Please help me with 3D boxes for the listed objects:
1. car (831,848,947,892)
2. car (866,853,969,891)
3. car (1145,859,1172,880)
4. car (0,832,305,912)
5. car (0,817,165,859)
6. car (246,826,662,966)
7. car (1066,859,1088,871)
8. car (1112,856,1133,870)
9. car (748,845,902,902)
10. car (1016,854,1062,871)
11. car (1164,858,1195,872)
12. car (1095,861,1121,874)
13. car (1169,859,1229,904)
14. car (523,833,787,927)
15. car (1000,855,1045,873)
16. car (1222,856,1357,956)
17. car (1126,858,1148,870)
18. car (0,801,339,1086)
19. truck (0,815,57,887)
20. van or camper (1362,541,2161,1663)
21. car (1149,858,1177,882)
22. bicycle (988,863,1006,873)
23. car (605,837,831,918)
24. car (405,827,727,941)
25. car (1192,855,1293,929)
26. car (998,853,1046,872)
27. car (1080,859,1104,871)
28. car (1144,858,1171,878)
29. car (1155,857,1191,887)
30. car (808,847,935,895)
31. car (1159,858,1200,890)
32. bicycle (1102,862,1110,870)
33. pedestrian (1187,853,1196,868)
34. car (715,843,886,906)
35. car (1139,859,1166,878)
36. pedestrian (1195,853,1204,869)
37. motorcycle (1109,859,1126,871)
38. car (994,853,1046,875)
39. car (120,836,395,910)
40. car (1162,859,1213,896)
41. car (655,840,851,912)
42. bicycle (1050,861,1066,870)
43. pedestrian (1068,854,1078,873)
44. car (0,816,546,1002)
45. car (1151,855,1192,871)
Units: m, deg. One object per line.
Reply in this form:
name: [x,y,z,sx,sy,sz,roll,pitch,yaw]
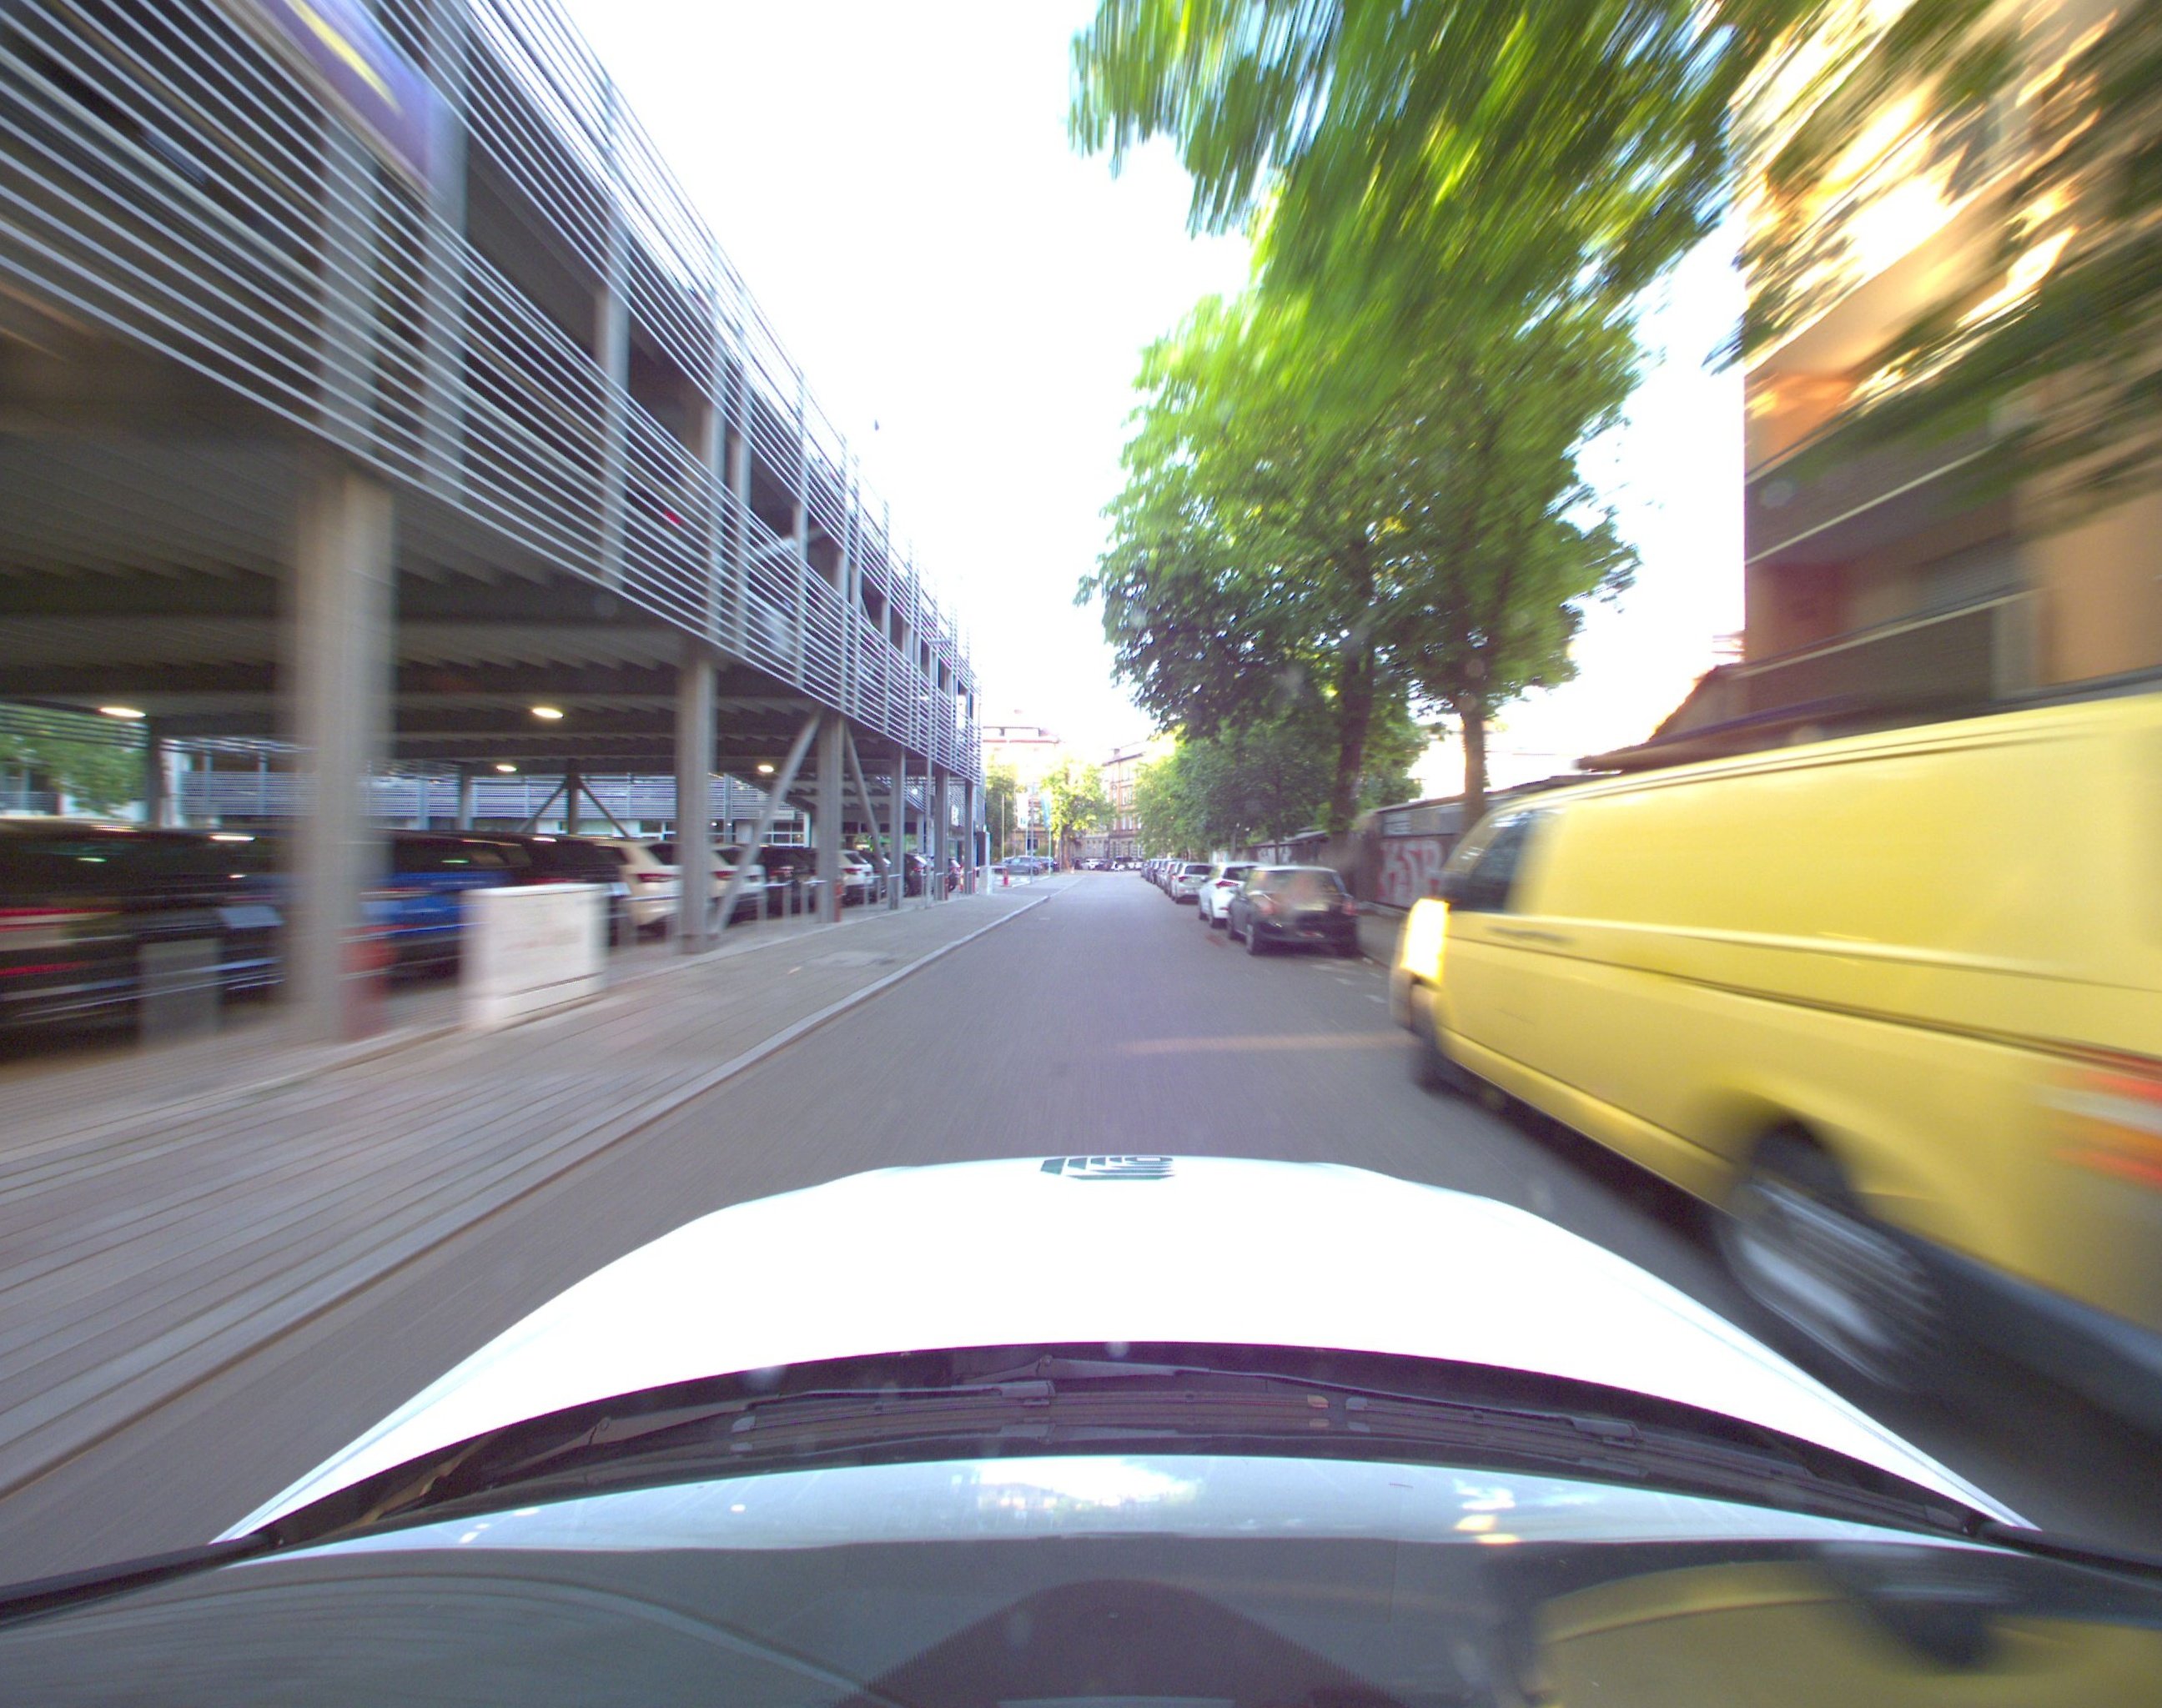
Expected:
car: [-7.491,0.592,32.001,4.062,1.684,1.862,0,0,3]
car: [-6.893,0.765,34.609,3.974,1.586,1.860,0,-2,0]
car: [5.419,1.072,57.415,1.688,1.477,4.119,0,0,2]
car: [-17.875,0.314,15.742,4.057,1.455,1.862,0,0,3]
car: [-40.944,-0.600,33.176,2.290,1.574,4.386,1,0,-1]
car: [-8.116,0.491,10.821,4.132,1.684,1.862,0,0,3]
car: [-0.531,1.391,107.200,1.661,1.431,3.868,1,1,-22]
car: [5.435,1.159,106.658,1.681,1.782,2.993,1,0,-22]
car: [-7.744,0.566,24.863,4.047,1.684,1.862,0,0,3]
car: [-4.481,0.884,87.070,4.819,1.732,1.918,1,1,-4]
car: [11.420,1.260,94.585,1.922,1.525,3.868,1,1,-22]
car: [3.236,1.581,98.237,1.661,1.431,3.962,1,1,-21]
car: [4.202,0.949,29.554,1.752,1.442,4.008,0,1,2]
car: [-8.033,0.452,15.610,4.066,1.684,1.862,0,0,3]
car: [-5.421,0.943,75.609,4.034,1.475,1.919,2,1,-2]
car: [3.433,0.785,13.980,1.557,1.450,3.455,0,1,2]
car: [7.063,1.272,103.050,1.681,1.525,2.747,1,0,-22]
car: [-8.133,0.516,5.821,4.018,1.684,1.862,0,0,3]
truck: [-41.897,-0.135,29.277,6.896,2.568,2.443,1,0,-1]
van or camper: [3.095,0.440,3.602,2.056,2.096,5.092,0,1,1]
car: [5.268,1.024,52.706,1.590,1.477,3.776,0,0,2]
bicycle: [-9.010,1.505,87.267,1.862,1.028,0.442,0,0,-22]
car: [-7.834,0.477,17.838,4.085,1.684,1.862,0,0,3]
car: [-8.104,0.436,13.078,4.008,1.684,1.862,0,0,3]
car: [3.693,0.802,19.243,1.715,1.519,4.028,0,1,2]
car: [-5.159,0.743,71.552,4.053,1.618,1.765,0,1,0]
car: [1.338,1.363,102.712,1.660,1.431,4.140,1,1,-20]
car: [5.799,1.029,62.054,1.690,1.477,3.558,0,0,-1]
car: [5.121,0.958,45.572,1.752,1.604,3.876,0,0,2]
car: [-7.533,0.577,29.571,4.070,1.684,1.862,0,0,3]
car: [4.847,0.975,40.512,1.752,1.441,3.876,0,1,2]
bicycle: [2.825,1.361,92.782,0.421,0.822,1.470,0,1,24]
pedestrian: [13.170,0.804,97.390,0.843,1.804,0.771,0,0,-18]
car: [-7.740,0.535,22.715,4.085,1.684,1.862,0,0,3]
car: [5.789,1.131,66.465,1.691,1.477,4.209,0,0,-2]
pedestrian: [13.875,0.830,95.141,0.774,1.804,0.839,0,0,-13]
motorcycle: [4.267,1.260,94.852,1.930,1.340,0.576,0,0,-8]
car: [-5.071,0.847,68.165,4.116,1.618,1.913,2,1,0]
car: [-17.800,0.384,17.738,4.188,1.520,1.862,0,0,3]
car: [4.455,0.942,34.581,1.752,1.454,4.395,0,0,2]
car: [-8.053,0.503,20.229,4.085,1.684,1.862,0,0,3]
bicycle: [-2.536,1.274,89.638,1.678,1.028,0.442,0,0,-22]
pedestrian: [-0.801,0.942,81.726,0.737,1.804,1.115,0,0,-18]
car: [-8.131,0.488,8.388,4.018,1.684,1.862,0,0,3]
car: [8.704,0.881,78.227,3.994,1.466,1.858,0,1,-44]
